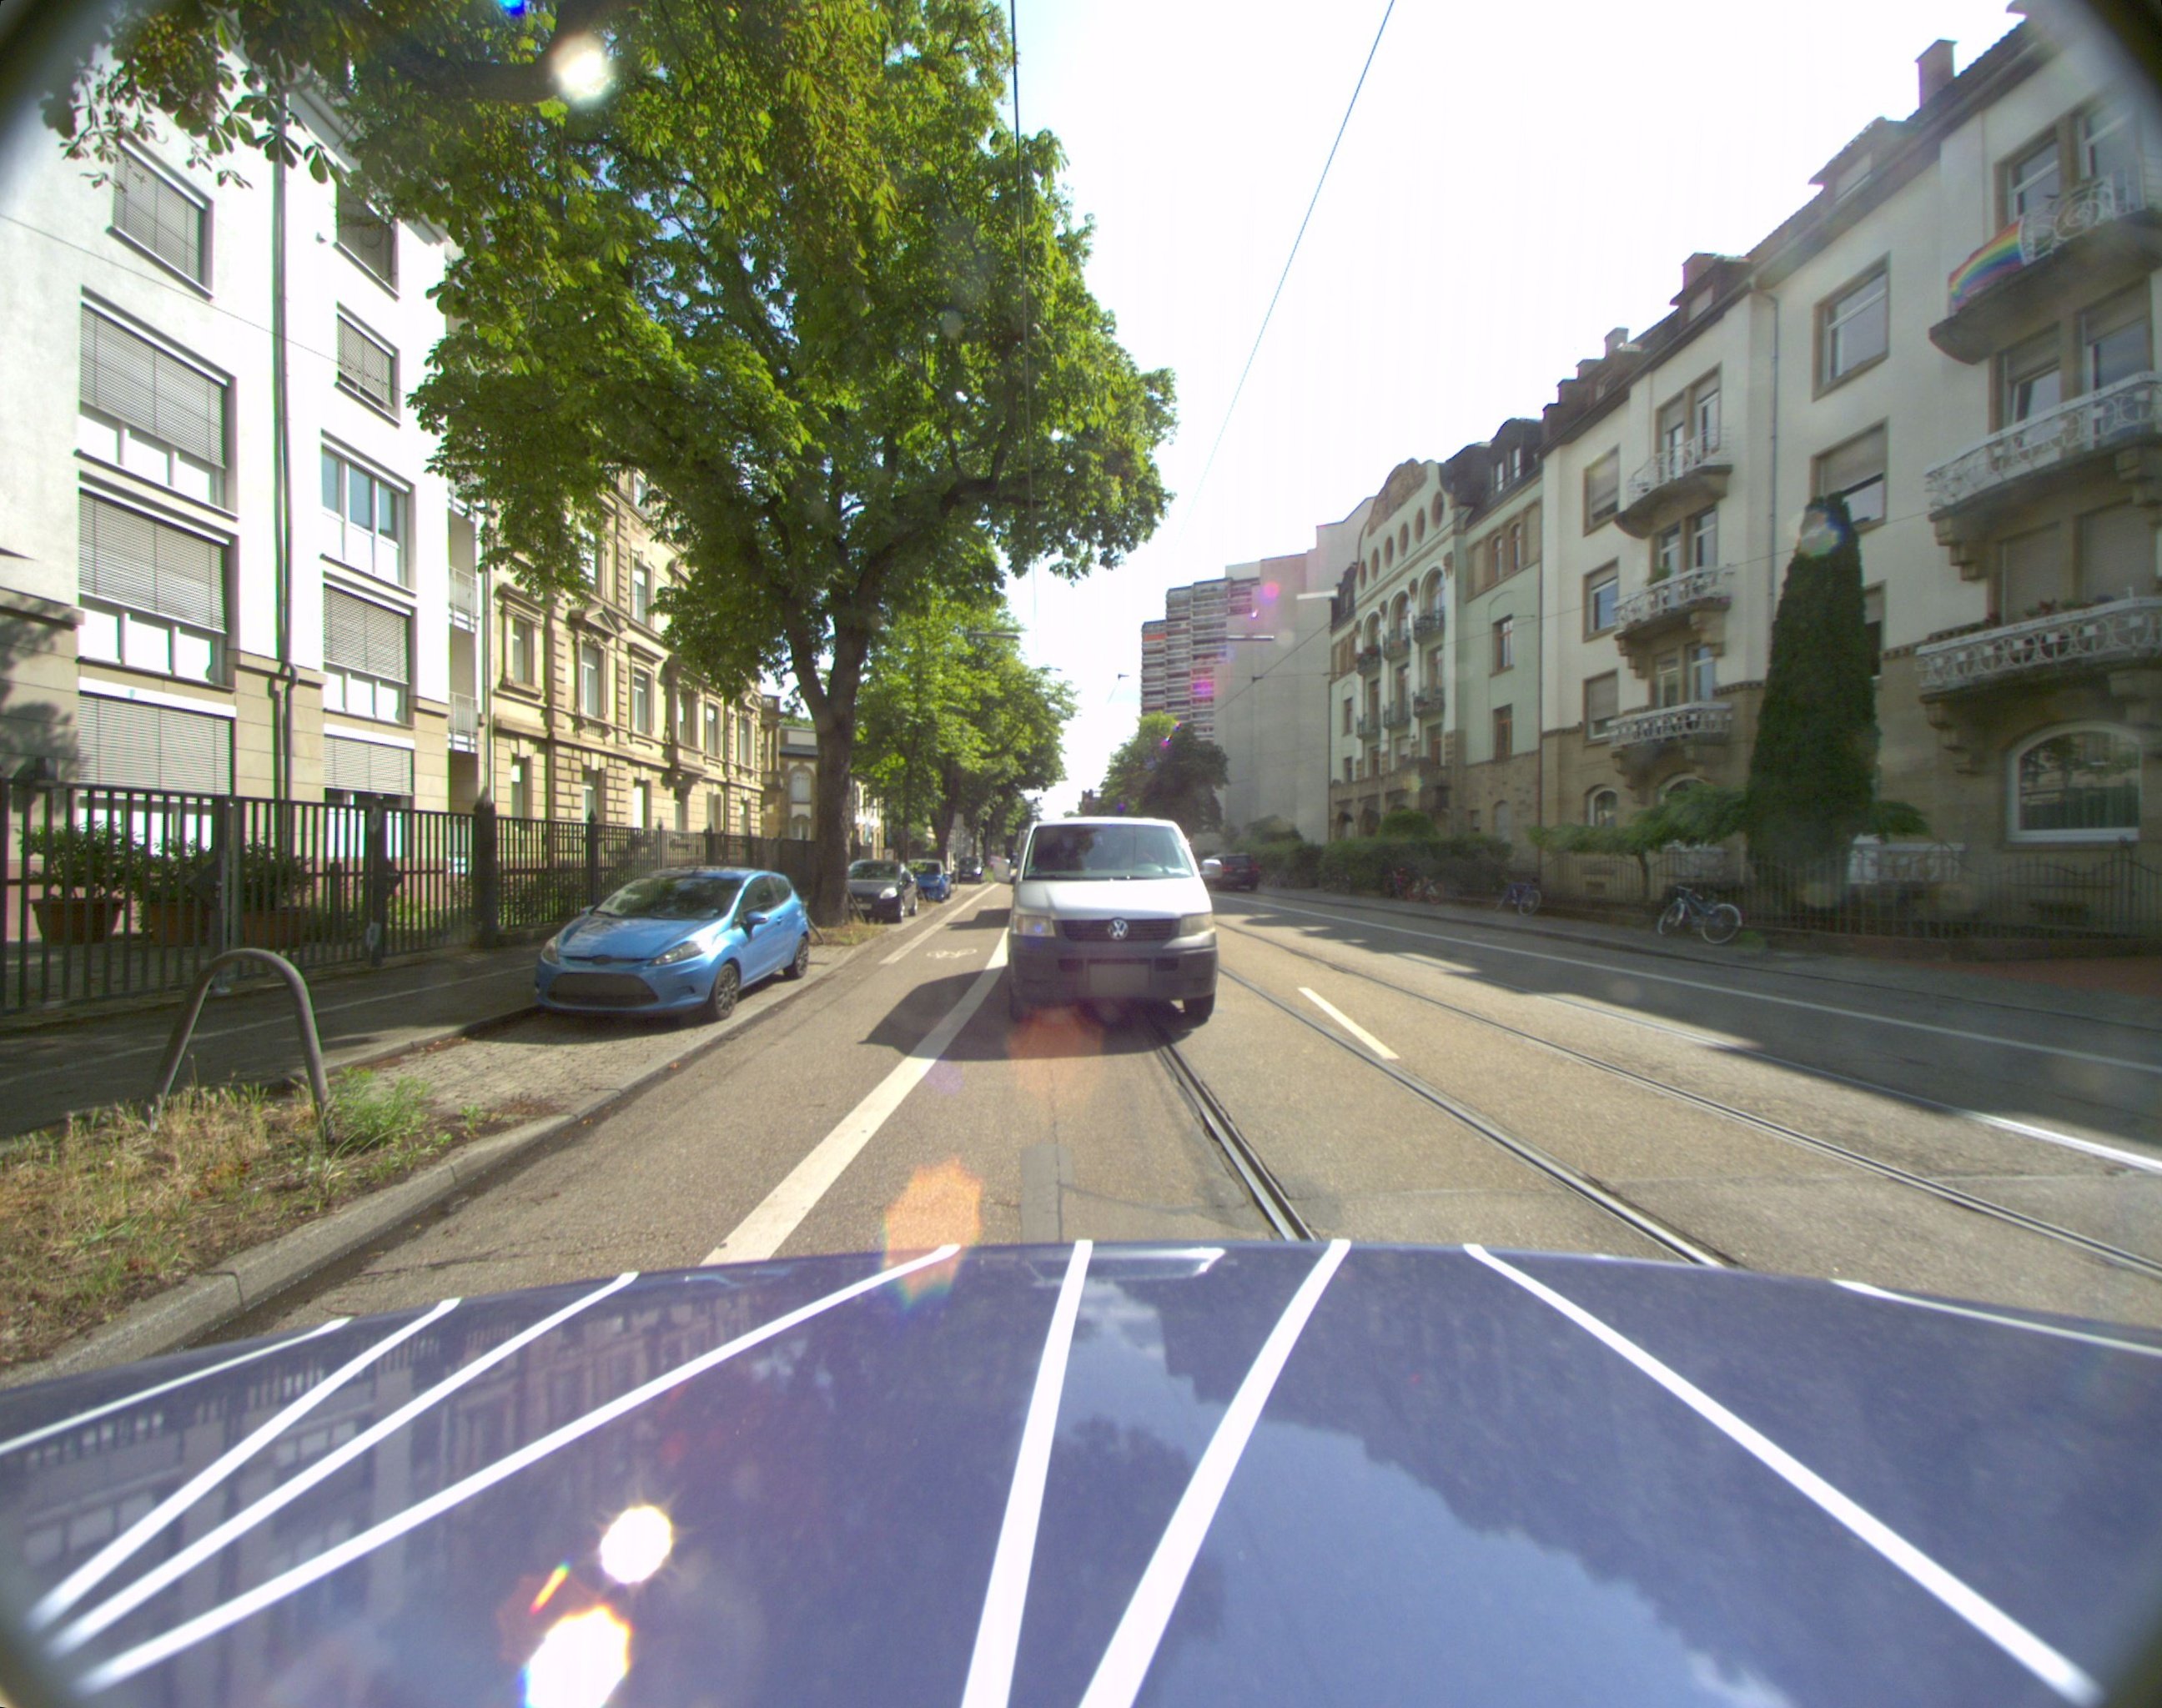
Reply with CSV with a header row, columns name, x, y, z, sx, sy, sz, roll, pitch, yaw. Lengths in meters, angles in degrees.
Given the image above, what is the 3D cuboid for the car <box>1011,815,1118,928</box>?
name,x,y,z,sx,sy,sz,roll,pitch,yaw
car,-0.618,0.384,20.129,2.169,2.572,5.659,0,0,-8

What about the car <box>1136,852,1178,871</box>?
name,x,y,z,sx,sy,sz,roll,pitch,yaw
car,7.149,0.703,71.517,3.663,1.832,1.735,0,0,-3

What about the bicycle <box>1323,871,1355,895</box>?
name,x,y,z,sx,sy,sz,roll,pitch,yaw
bicycle,9.951,1.106,29.367,0.587,0.792,1.873,-2,1,1

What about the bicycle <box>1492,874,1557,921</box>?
name,x,y,z,sx,sy,sz,roll,pitch,yaw
bicycle,10.899,1.040,18.752,0.539,1.024,1.873,0,1,1

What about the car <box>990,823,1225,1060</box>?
name,x,y,z,sx,sy,sz,roll,pitch,yaw
car,0.246,0.686,8.429,1.831,1.856,4.845,-1,0,1

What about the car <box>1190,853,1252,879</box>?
name,x,y,z,sx,sy,sz,roll,pitch,yaw
car,9.031,0.790,49.112,3.631,1.630,1.610,0,1,-3

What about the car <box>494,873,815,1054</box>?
name,x,y,z,sx,sy,sz,roll,pitch,yaw
car,-4.343,1.006,8.457,1.642,1.447,3.697,2,0,-4

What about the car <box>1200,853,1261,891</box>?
name,x,y,z,sx,sy,sz,roll,pitch,yaw
car,7.011,0.799,36.053,1.796,1.701,4.330,0,0,-4

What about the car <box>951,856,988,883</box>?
name,x,y,z,sx,sy,sz,roll,pitch,yaw
car,-6.651,0.895,45.728,1.774,1.522,4.198,2,0,-3

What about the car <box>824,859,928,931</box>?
name,x,y,z,sx,sy,sz,roll,pitch,yaw
car,-4.936,0.929,18.744,1.644,1.499,3.622,2,0,-2

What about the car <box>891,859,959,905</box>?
name,x,y,z,sx,sy,sz,roll,pitch,yaw
car,-5.422,0.929,26.858,1.724,1.443,3.925,2,0,-3

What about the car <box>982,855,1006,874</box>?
name,x,y,z,sx,sy,sz,roll,pitch,yaw
car,-7.794,0.891,68.566,1.774,1.563,4.198,2,0,-3

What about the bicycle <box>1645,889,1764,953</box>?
name,x,y,z,sx,sy,sz,roll,pitch,yaw
bicycle,11.055,1.153,13.573,0.524,0.901,2.067,0,2,4

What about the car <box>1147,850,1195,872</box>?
name,x,y,z,sx,sy,sz,roll,pitch,yaw
car,8.061,0.635,68.267,3.997,1.914,1.831,0,0,-1

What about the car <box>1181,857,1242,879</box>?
name,x,y,z,sx,sy,sz,roll,pitch,yaw
car,8.916,0.948,52.040,3.890,1.527,1.634,0,0,-1

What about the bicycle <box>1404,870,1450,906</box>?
name,x,y,z,sx,sy,sz,roll,pitch,yaw
bicycle,10.564,1.024,23.239,0.587,0.980,1.873,0,1,1
